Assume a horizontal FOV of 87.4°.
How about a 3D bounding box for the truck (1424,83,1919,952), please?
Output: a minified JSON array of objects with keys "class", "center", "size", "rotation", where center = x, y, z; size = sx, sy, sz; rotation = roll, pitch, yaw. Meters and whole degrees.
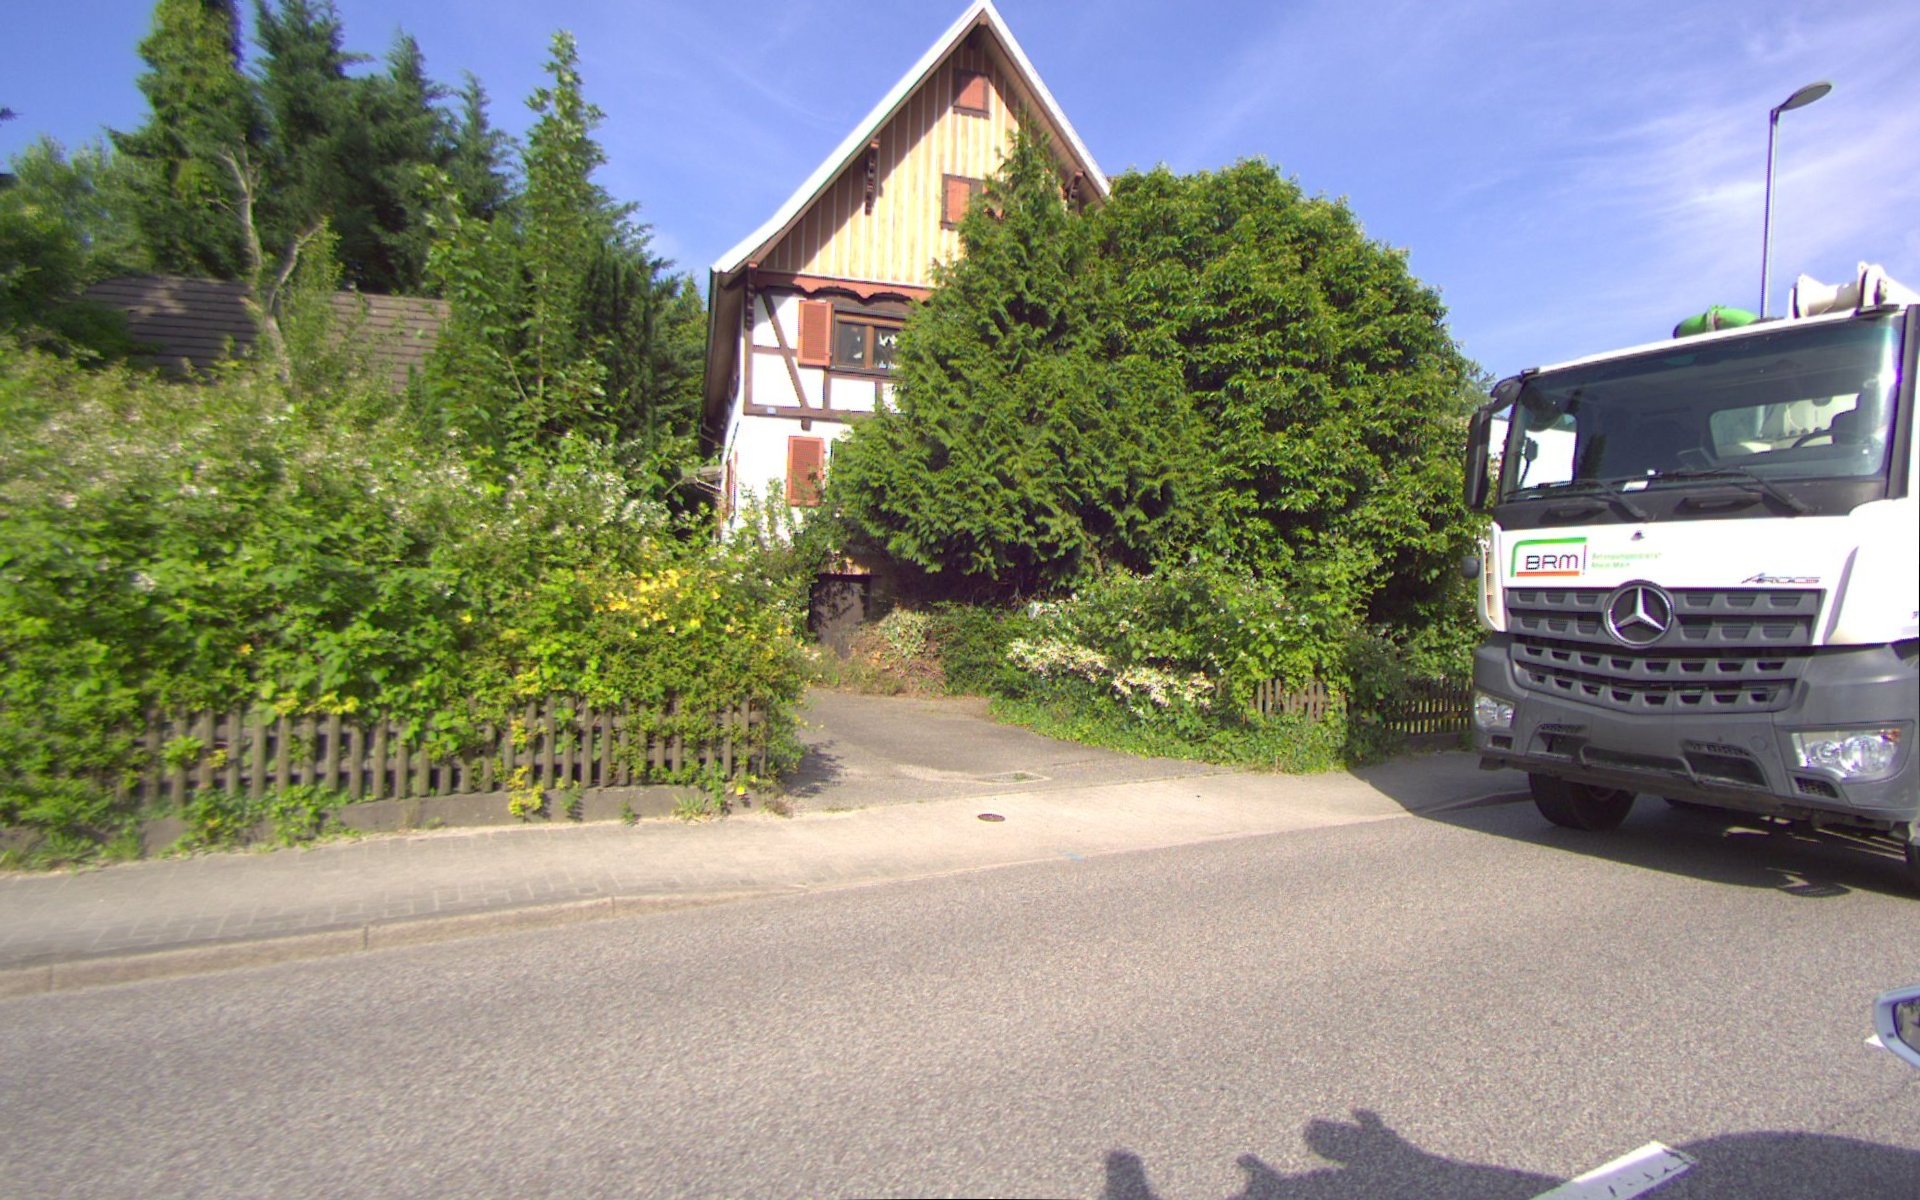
[{"class":"truck","center":[8.603,-0.244,8.494],"size":[11.173,3.984,2.566],"rotation":[2,-1,-30]}]
